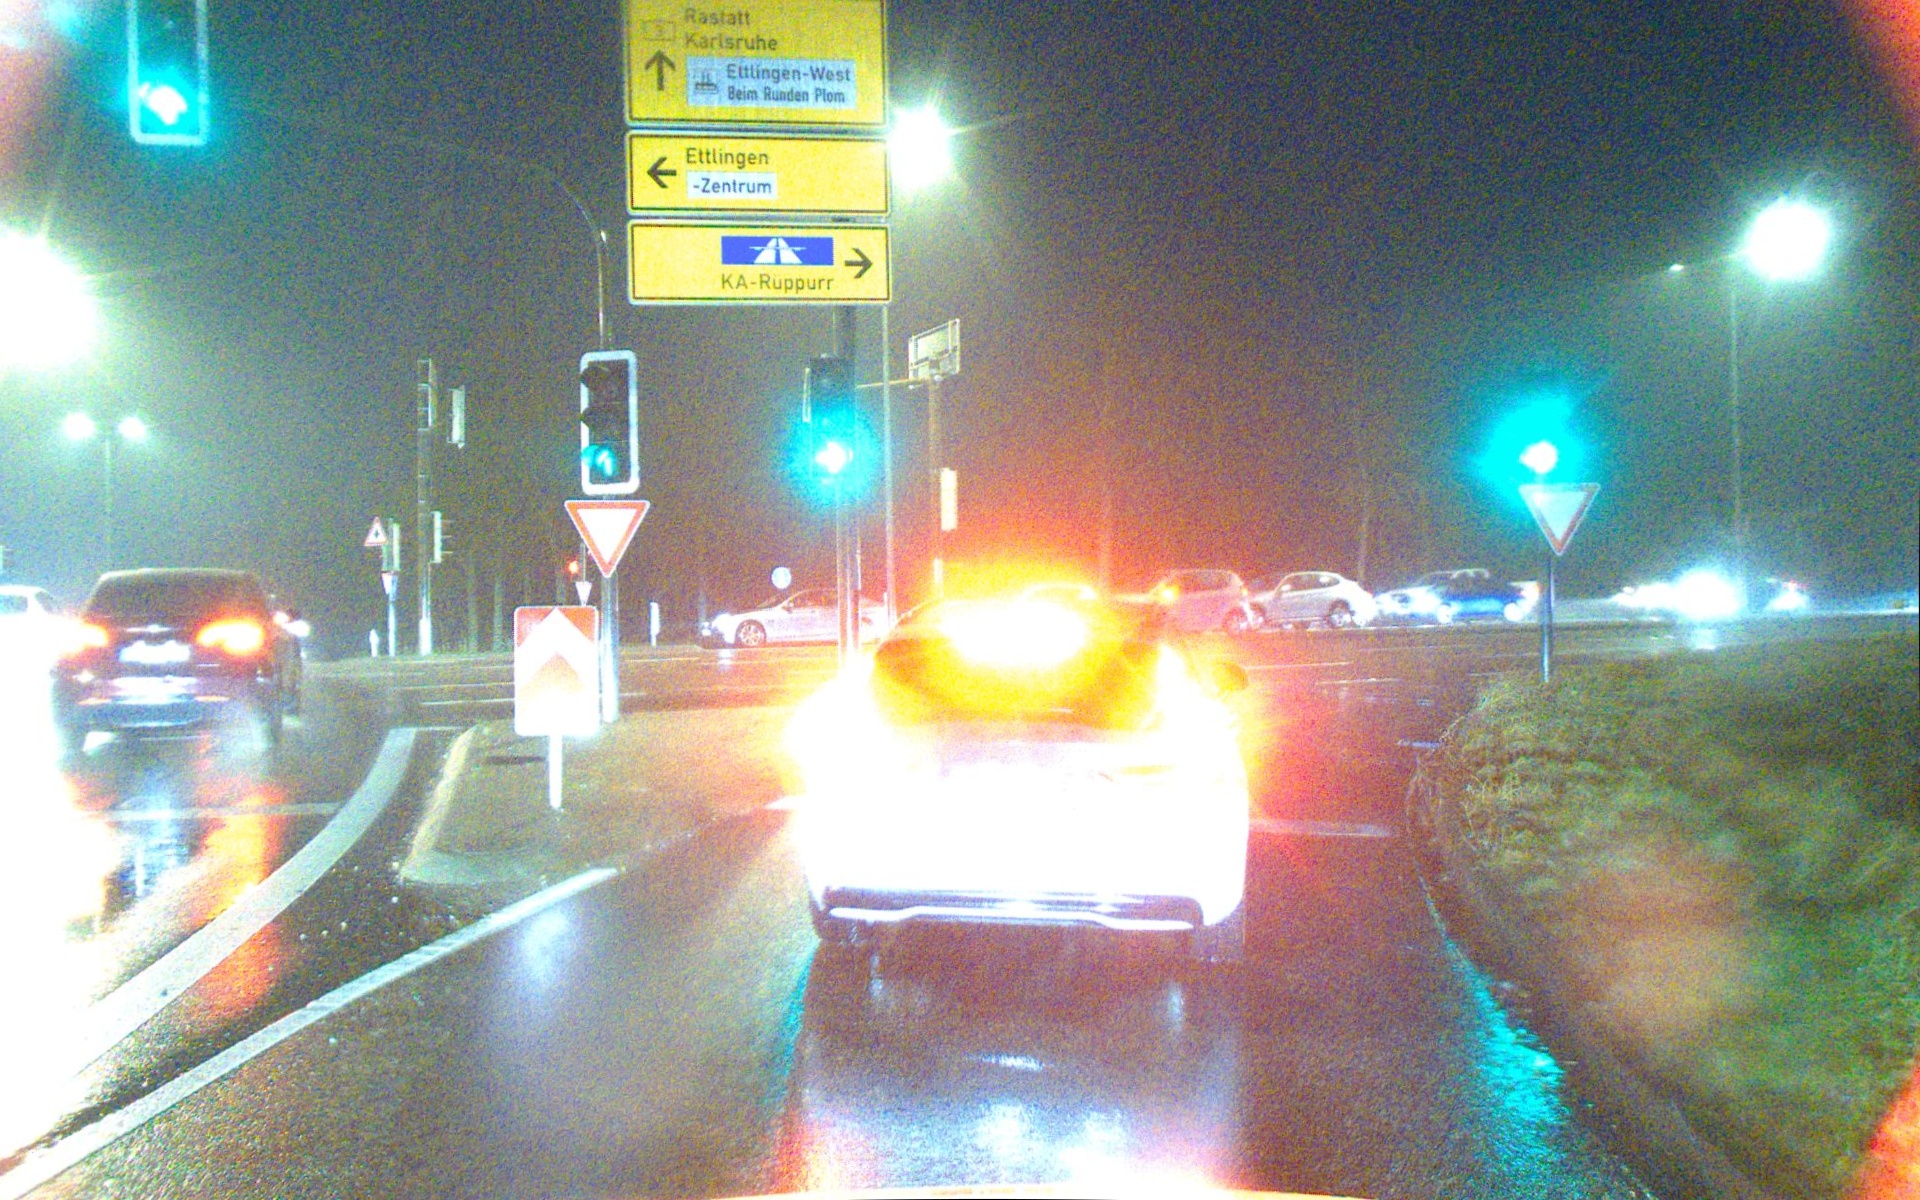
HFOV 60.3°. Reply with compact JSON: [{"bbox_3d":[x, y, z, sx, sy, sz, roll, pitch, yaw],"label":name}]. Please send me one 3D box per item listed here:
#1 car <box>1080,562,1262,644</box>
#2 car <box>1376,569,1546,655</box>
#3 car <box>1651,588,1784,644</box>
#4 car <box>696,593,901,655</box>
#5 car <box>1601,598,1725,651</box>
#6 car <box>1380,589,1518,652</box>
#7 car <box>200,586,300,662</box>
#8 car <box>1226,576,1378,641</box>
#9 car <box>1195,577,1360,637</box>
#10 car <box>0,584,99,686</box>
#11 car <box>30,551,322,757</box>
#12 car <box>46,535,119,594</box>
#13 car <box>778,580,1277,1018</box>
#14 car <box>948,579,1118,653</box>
[{"bbox_3d":[4.854,0.040,37.974,3.841,1.755,1.751,-1,1,-26],"label":"car"},{"bbox_3d":[16.884,0.414,55.701,5.524,2.757,2.237,1,-1,-27],"label":"car"},{"bbox_3d":[23.677,0.515,51.692,3.918,1.695,1.788,1,-1,-28],"label":"car"},{"bbox_3d":[-3.962,0.589,40.668,4.730,1.452,1.750,1,-1,-27],"label":"car"},{"bbox_3d":[23.943,0.830,56.329,4.064,1.744,1.749,1,-1,-28],"label":"car"},{"bbox_3d":[15.049,0.622,50.868,4.064,1.880,1.749,1,-1,-28],"label":"car"},{"bbox_3d":[-14.854,0.484,34.765,1.674,1.489,4.288,0,0,-20],"label":"car"},{"bbox_3d":[9.957,0.261,48.163,4.187,1.830,1.788,1,-1,-28],"label":"car"},{"bbox_3d":[8.277,0.189,43.097,3.991,1.513,1.705,1,-1,-24],"label":"car"},{"bbox_3d":[-14.604,0.525,25.574,1.629,1.470,3.773,0,0,-17],"label":"car"},{"bbox_3d":[-7.329,0.427,15.909,1.798,1.682,4.460,1,1,-16],"label":"car"},{"bbox_3d":[-33.483,-1.323,63.223,1.748,2.115,3.979,1,0,-18],"label":"car"},{"bbox_3d":[0.542,0.659,7.927,1.758,1.477,4.272,0,1,9],"label":"car"},{"bbox_3d":[1.934,0.418,43.700,4.221,1.880,1.749,1,-1,-28],"label":"car"}]
